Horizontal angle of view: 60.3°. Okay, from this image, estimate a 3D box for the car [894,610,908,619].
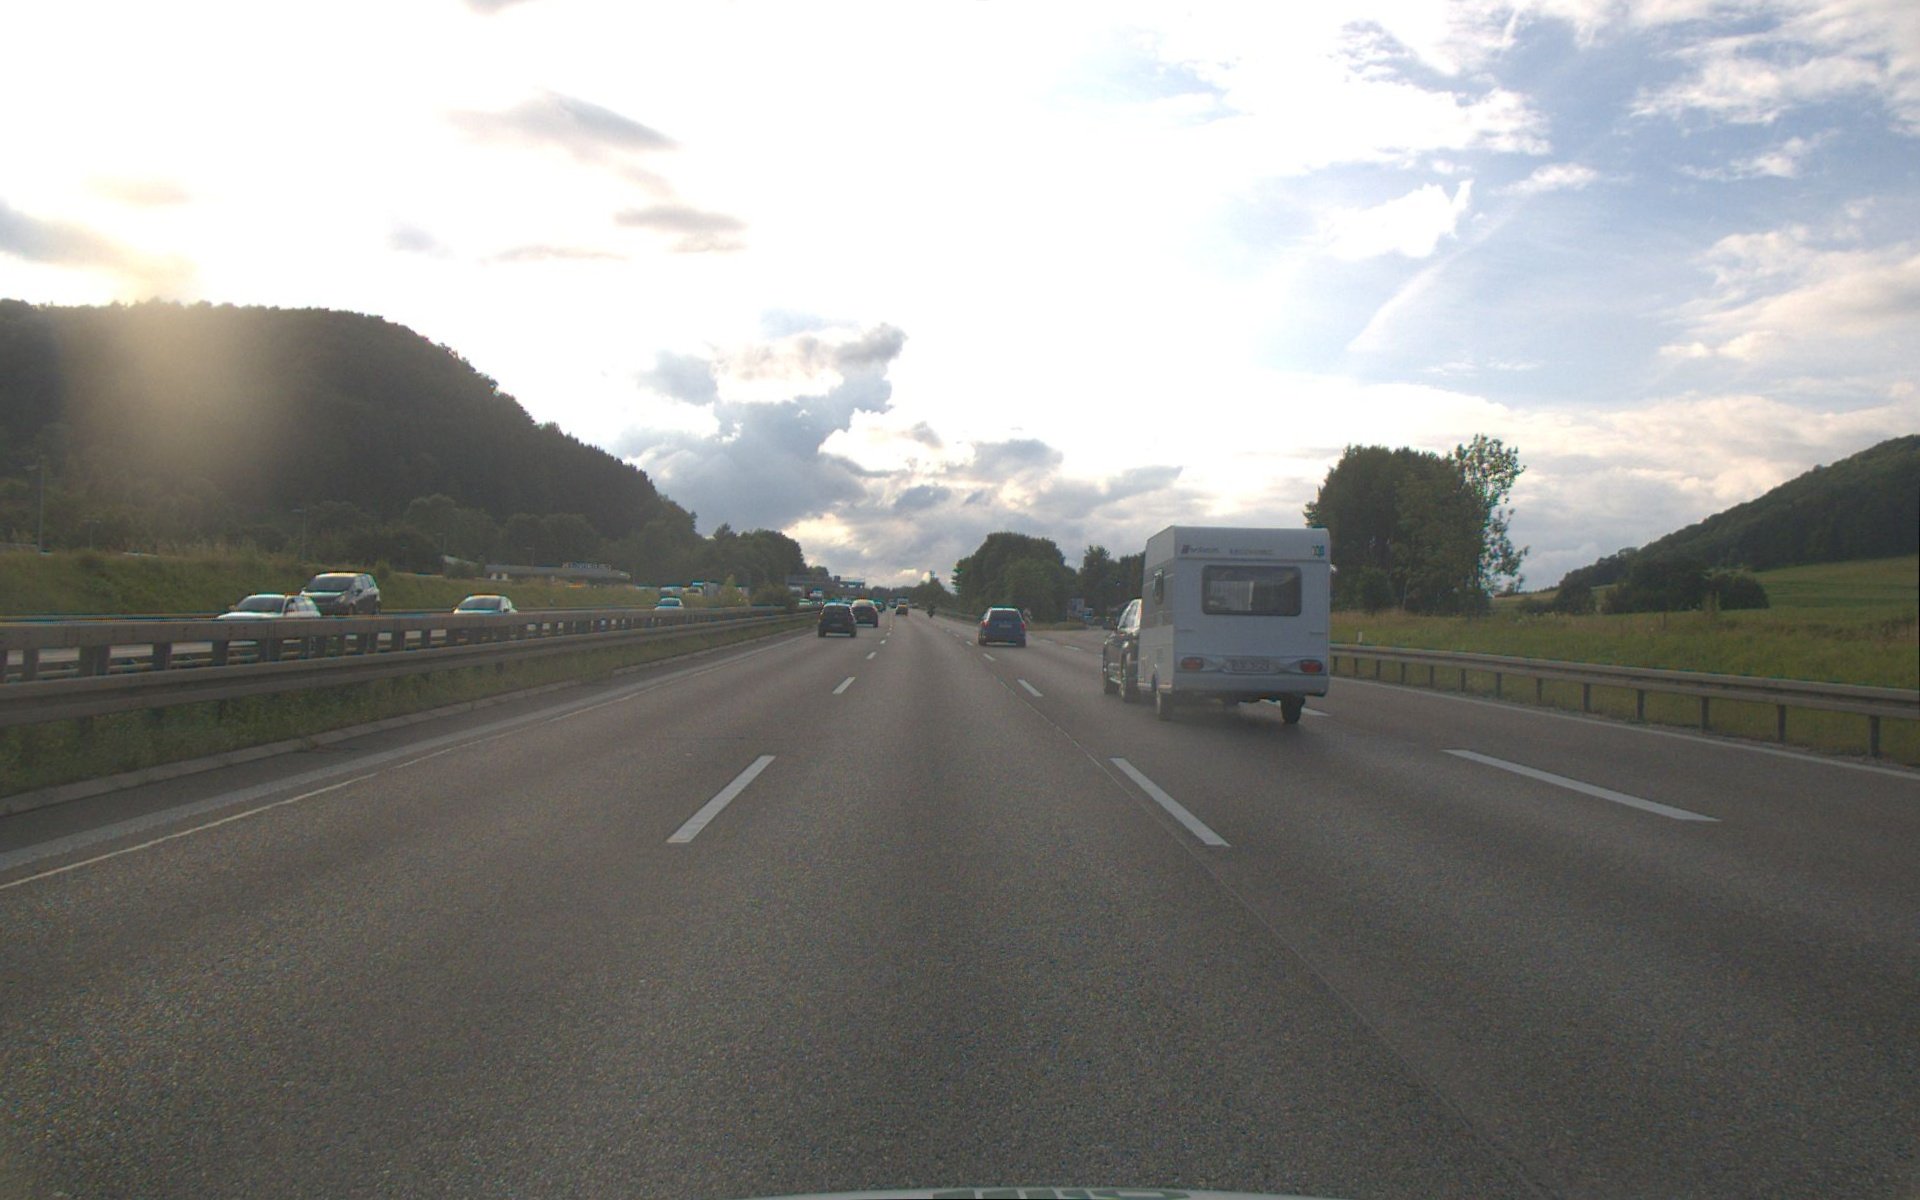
[{"bbox_3d":[-8.371,2.089,233.755,1.717,1.243,3.994,0,0,-7],"label":"car"}]

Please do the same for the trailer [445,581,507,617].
[{"bbox_3d":[-44.446,-0.054,152.252,2.526,2.904,11.376,1,-2,-1],"label":"trailer"}]

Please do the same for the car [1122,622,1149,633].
[{"bbox_3d":[27.339,4.338,257.726,4.274,1.583,1.959,3,-2,-43],"label":"car"}]

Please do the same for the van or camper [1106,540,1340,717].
[{"bbox_3d":[3.627,0.430,24.007,2.496,2.279,5.328,0,-1,0],"label":"van or camper"}]

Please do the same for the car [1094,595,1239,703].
[{"bbox_3d":[3.463,0.780,28.451,1.750,1.681,4.479,1,0,-2],"label":"car"}]

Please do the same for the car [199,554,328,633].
[{"bbox_3d":[-20.100,-0.162,47.939,1.912,2.150,4.519,-1,0,-2],"label":"car"}]

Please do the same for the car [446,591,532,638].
[{"bbox_3d":[-15.974,0.494,56.282,1.912,1.501,3.871,-1,0,-2],"label":"car"}]

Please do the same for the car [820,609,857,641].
[{"bbox_3d":[-5.466,1.096,74.729,1.507,1.371,3.675,1,0,-2],"label":"car"}]

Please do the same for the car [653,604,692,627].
[{"bbox_3d":[-18.648,0.998,107.407,1.912,1.473,3.871,-1,0,-2],"label":"car"}]

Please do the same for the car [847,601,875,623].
[{"bbox_3d":[-6.479,0.805,108.417,1.533,1.404,4.000,0,0,0],"label":"car"}]

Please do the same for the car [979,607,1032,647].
[{"bbox_3d":[1.722,1.048,63.737,1.731,1.458,3.998,-1,-1,-3],"label":"car"}]
